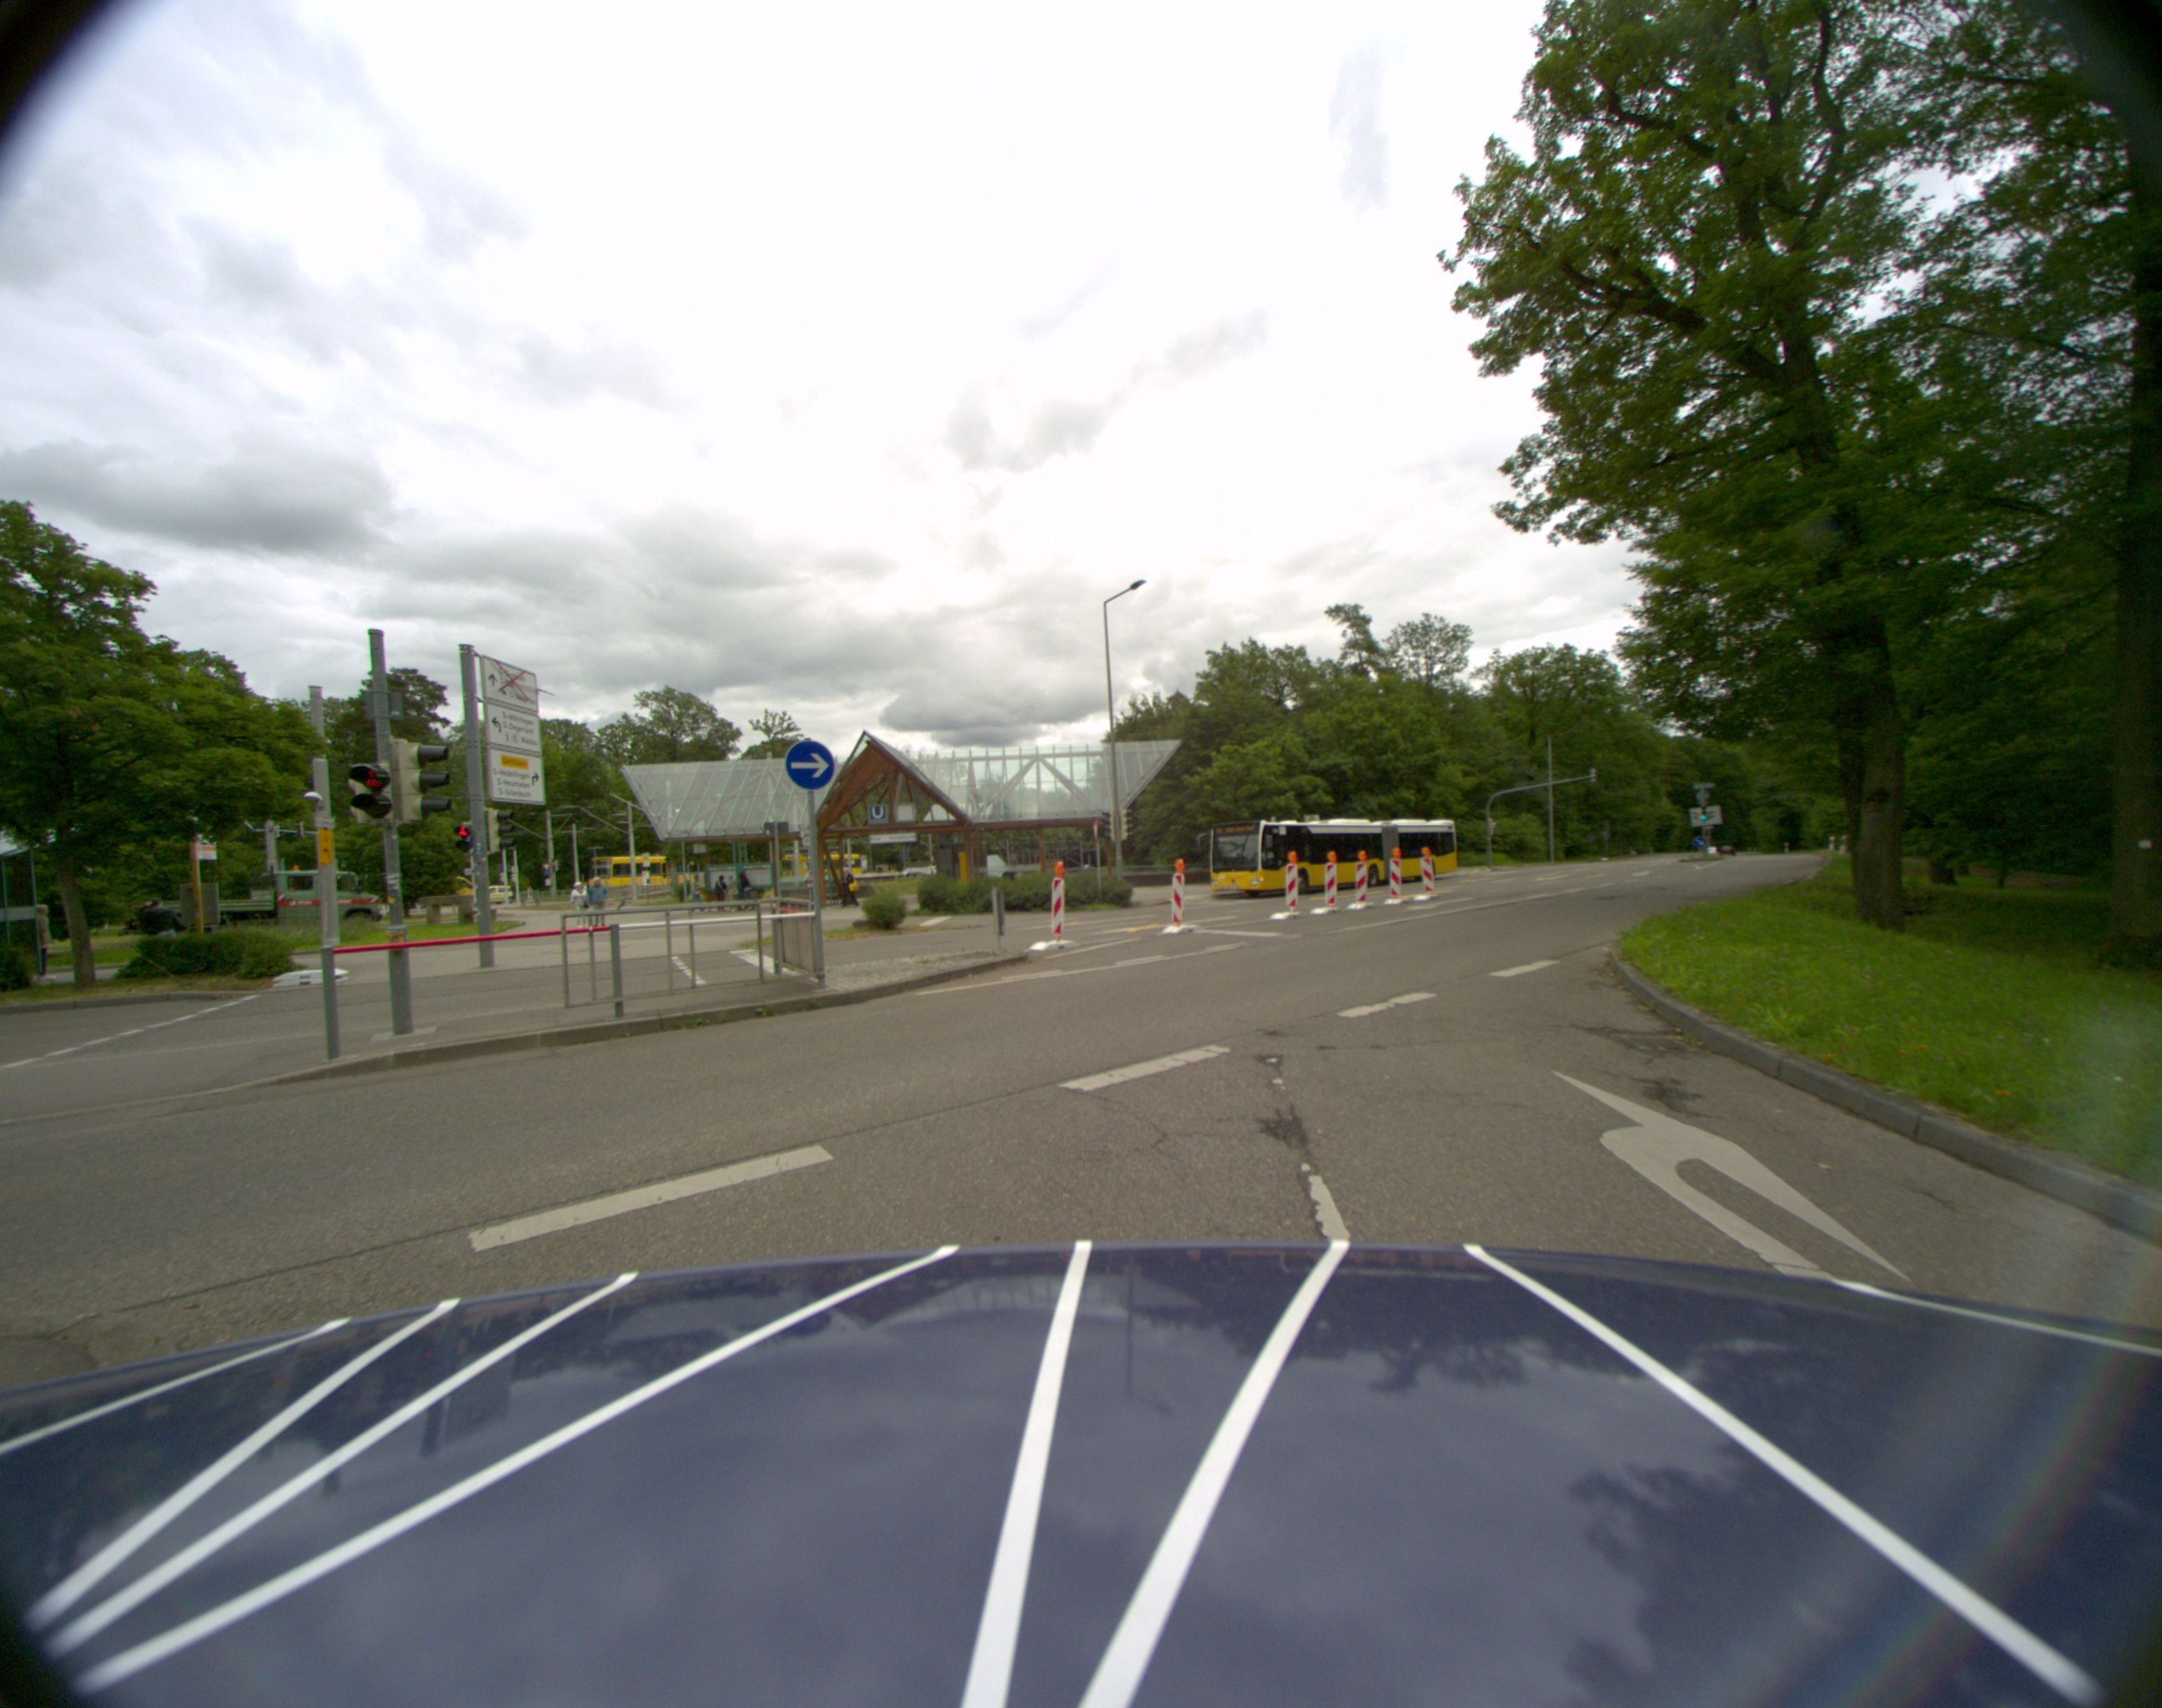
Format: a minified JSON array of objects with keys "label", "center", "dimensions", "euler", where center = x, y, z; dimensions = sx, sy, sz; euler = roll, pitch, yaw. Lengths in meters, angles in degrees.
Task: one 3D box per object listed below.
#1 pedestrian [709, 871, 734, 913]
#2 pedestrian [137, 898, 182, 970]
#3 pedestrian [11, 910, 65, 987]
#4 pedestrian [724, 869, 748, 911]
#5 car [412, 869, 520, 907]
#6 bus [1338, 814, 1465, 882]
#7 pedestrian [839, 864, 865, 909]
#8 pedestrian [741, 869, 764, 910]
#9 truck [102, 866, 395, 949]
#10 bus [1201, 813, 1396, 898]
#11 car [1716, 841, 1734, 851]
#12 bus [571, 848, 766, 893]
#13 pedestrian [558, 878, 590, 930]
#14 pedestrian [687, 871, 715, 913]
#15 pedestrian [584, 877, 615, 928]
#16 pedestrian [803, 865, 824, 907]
[{"label":"pedestrian","center":[-15.512,1.634,32.813],"dimensions":[0.560,1.747,0.669],"euler":[-4,0,29]},{"label":"pedestrian","center":[-20.109,1.729,16.585],"dimensions":[0.480,1.507,0.522],"euler":[-4,0,-41]},{"label":"pedestrian","center":[-21.366,1.922,15.577],"dimensions":[0.480,1.507,0.522],"euler":[-4,0,-41]},{"label":"pedestrian","center":[-14.849,1.555,32.688],"dimensions":[0.667,1.747,0.601],"euler":[-4,0,43]},{"label":"car","center":[-46.786,2.522,58.044],"dimensions":[1.996,2.479,6.157],"euler":[-4,-1,20]},{"label":"bus","center":[16.499,-0.348,38.799],"dimensions":[7.771,3.140,2.805],"euler":[-2,-1,-42]},{"label":"pedestrian","center":[-9.285,1.299,30.800],"dimensions":[0.667,1.747,0.657],"euler":[-4,0,12]},{"label":"pedestrian","center":[-14.258,1.540,32.972],"dimensions":[0.667,1.747,0.601],"euler":[-4,0,43]},{"label":"truck","center":[-29.153,1.779,27.000],"dimensions":[2.401,2.338,6.555],"euler":[-4,-1,30]},{"label":"bus","center":[9.704,-0.040,32.711],"dimensions":[10.538,3.140,2.805],"euler":[-2,-1,-42]},{"label":"car","center":[96.176,-1.179,113.499],"dimensions":[1.748,1.322,4.007],"euler":[-4,-1,44]},{"label":"bus","center":[-37.624,1.291,71.324],"dimensions":[3.971,3.462,18.599],"euler":[-4,-1,16]},{"label":"pedestrian","center":[-17.749,1.752,26.620],"dimensions":[0.737,1.747,0.667],"euler":[-4,0,-23]},{"label":"pedestrian","center":[-16.364,1.616,32.739],"dimensions":[0.733,1.747,0.737],"euler":[-4,0,2]},{"label":"pedestrian","center":[-17.112,1.717,27.029],"dimensions":[0.737,1.747,0.667],"euler":[-4,0,-25]},{"label":"pedestrian","center":[-11.303,1.351,32.101],"dimensions":[0.657,1.747,0.667],"euler":[-4,0,-23]}]
